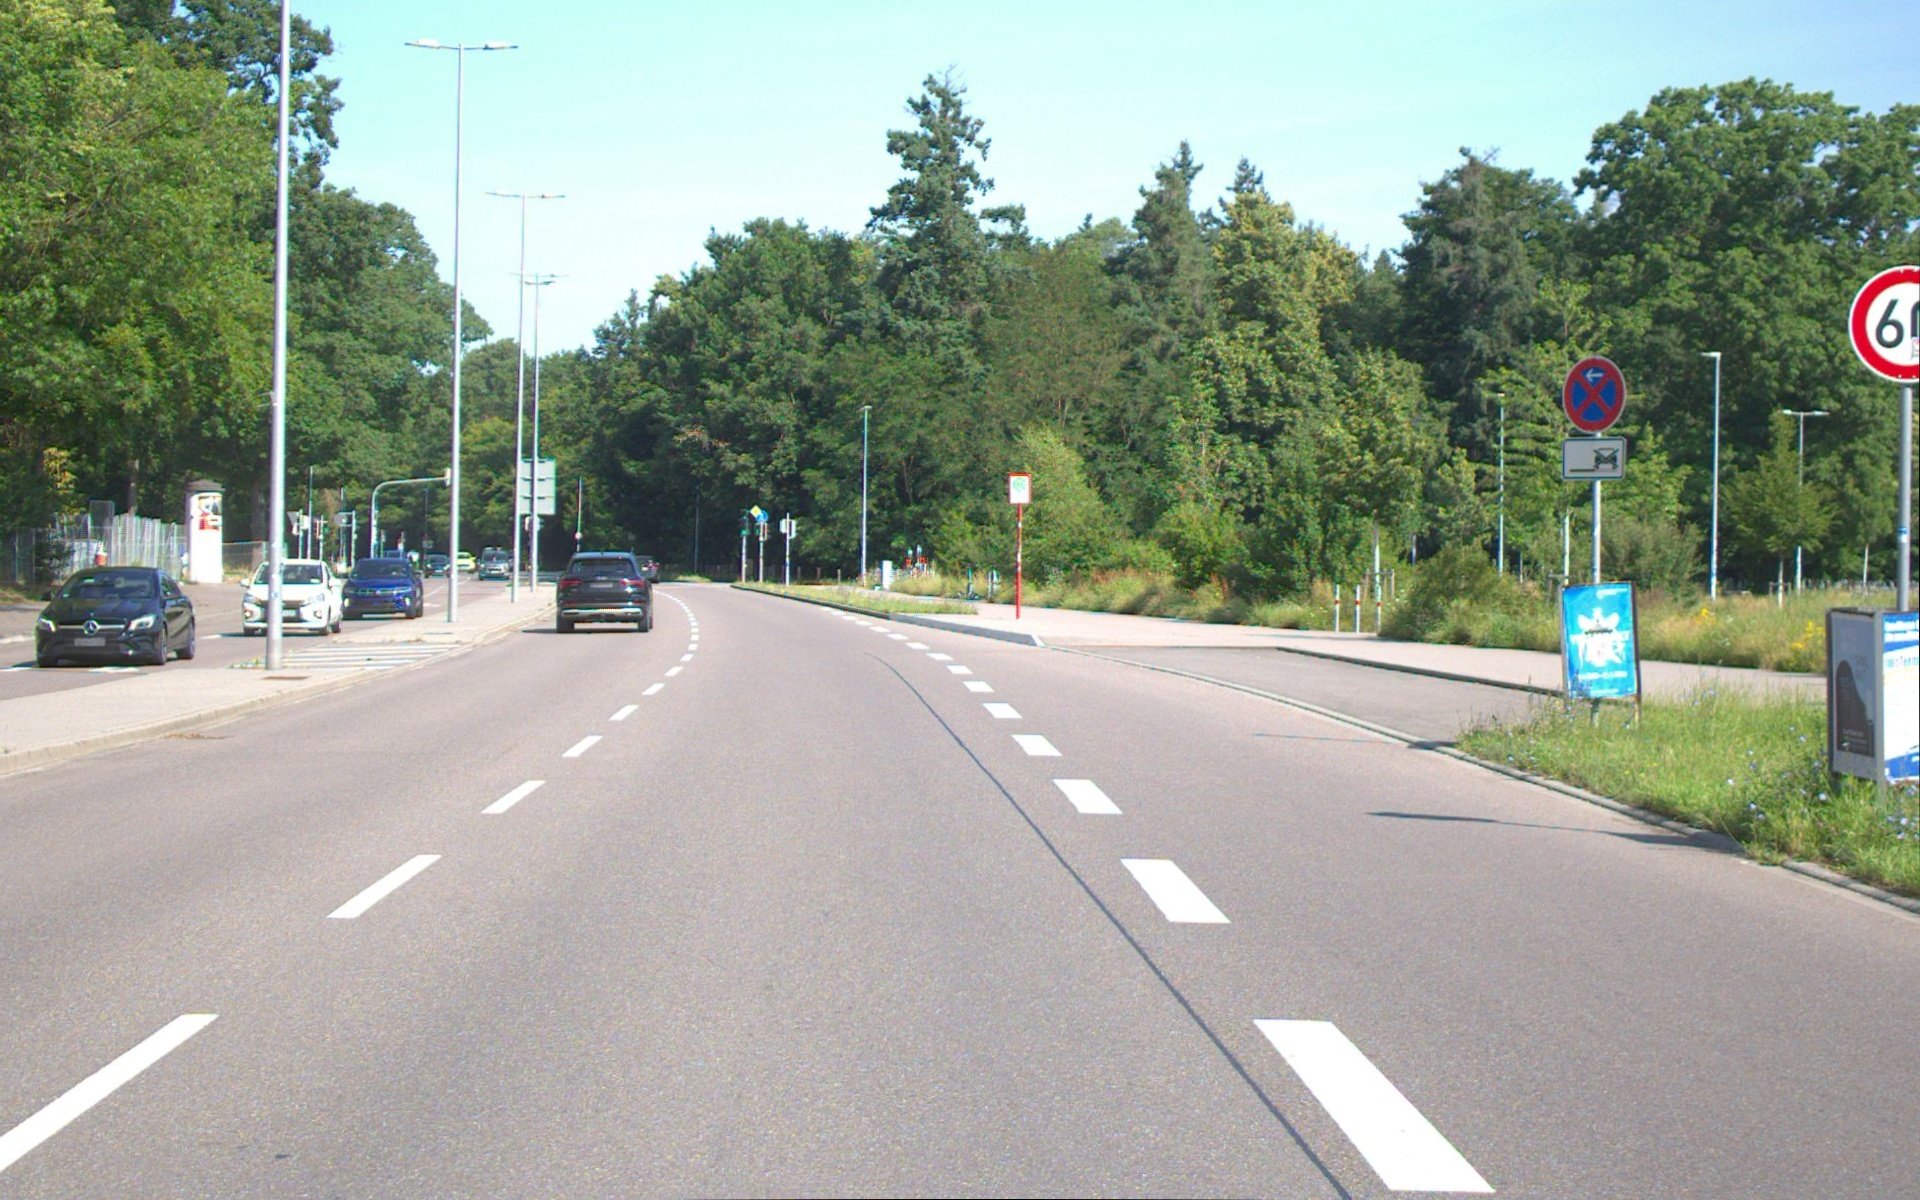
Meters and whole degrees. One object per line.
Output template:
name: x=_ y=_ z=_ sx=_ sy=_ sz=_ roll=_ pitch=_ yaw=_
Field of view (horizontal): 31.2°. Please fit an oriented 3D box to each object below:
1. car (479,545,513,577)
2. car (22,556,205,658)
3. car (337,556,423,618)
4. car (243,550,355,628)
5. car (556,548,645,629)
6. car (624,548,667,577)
car: x=-28.071 y=-2.368 z=207.981 sx=1.841 sy=1.925 sz=4.630 roll=0 pitch=1 yaw=-5
car: x=-12.354 y=0.077 z=50.397 sx=1.810 sy=1.383 sz=4.162 roll=-1 pitch=1 yaw=-3
car: x=-14.550 y=-0.346 z=86.421 sx=1.753 sy=1.481 sz=3.948 roll=-1 pitch=1 yaw=-4
car: x=-13.001 y=-0.236 z=67.777 sx=1.623 sy=1.461 sz=3.801 roll=-1 pitch=1 yaw=-3
car: x=-7.072 y=-0.245 z=67.941 sx=1.687 sy=1.539 sz=4.149 roll=0 pitch=1 yaw=-5
car: x=-16.164 y=-1.916 z=176.517 sx=1.940 sy=1.415 sz=4.294 roll=1 pitch=1 yaw=-8
